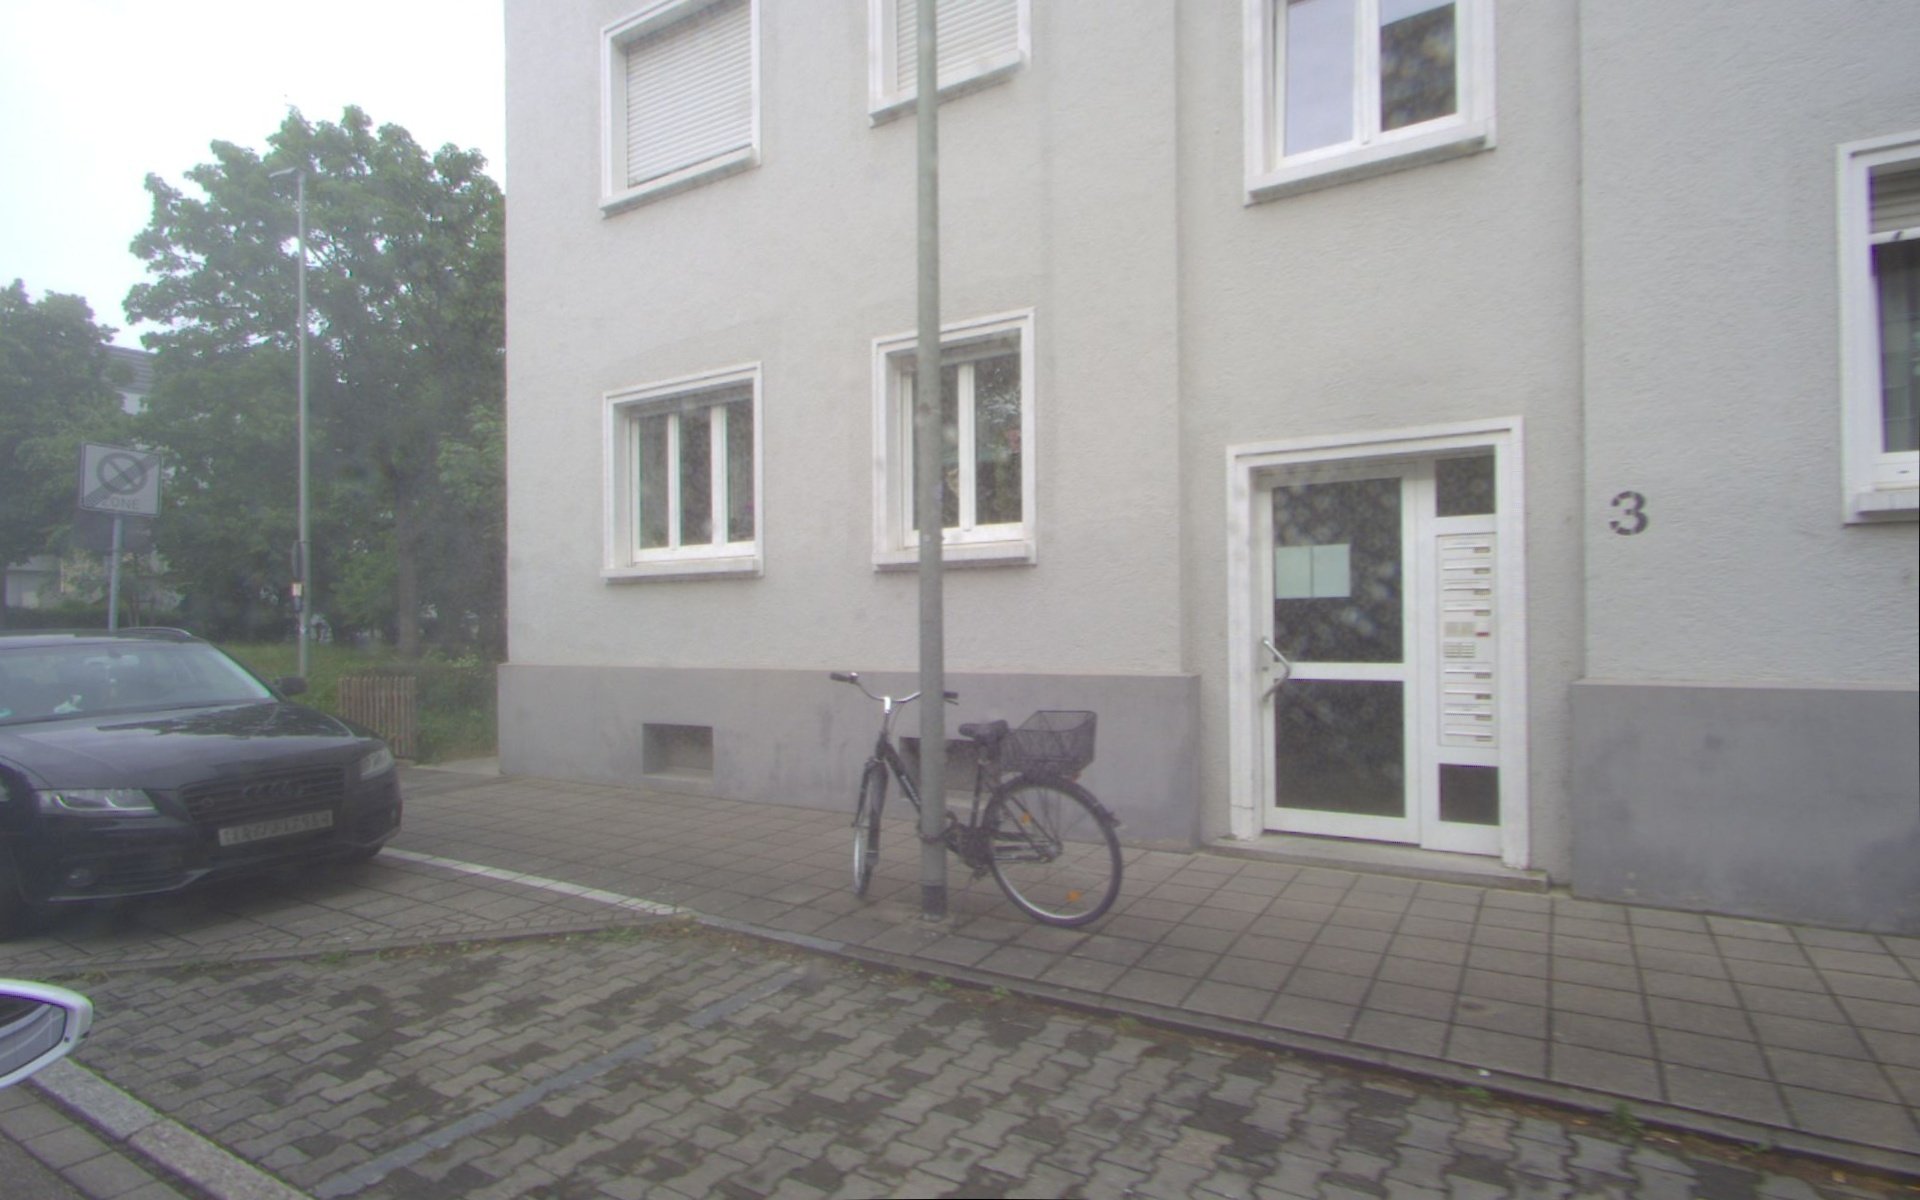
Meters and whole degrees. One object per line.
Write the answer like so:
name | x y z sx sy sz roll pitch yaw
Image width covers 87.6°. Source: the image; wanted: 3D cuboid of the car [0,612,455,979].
car | -5.343 0.843 6.065 4.655 1.482 1.858 -1 0 30

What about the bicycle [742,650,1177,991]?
bicycle | -0.040 0.872 4.574 1.868 1.216 0.747 -1 1 32
